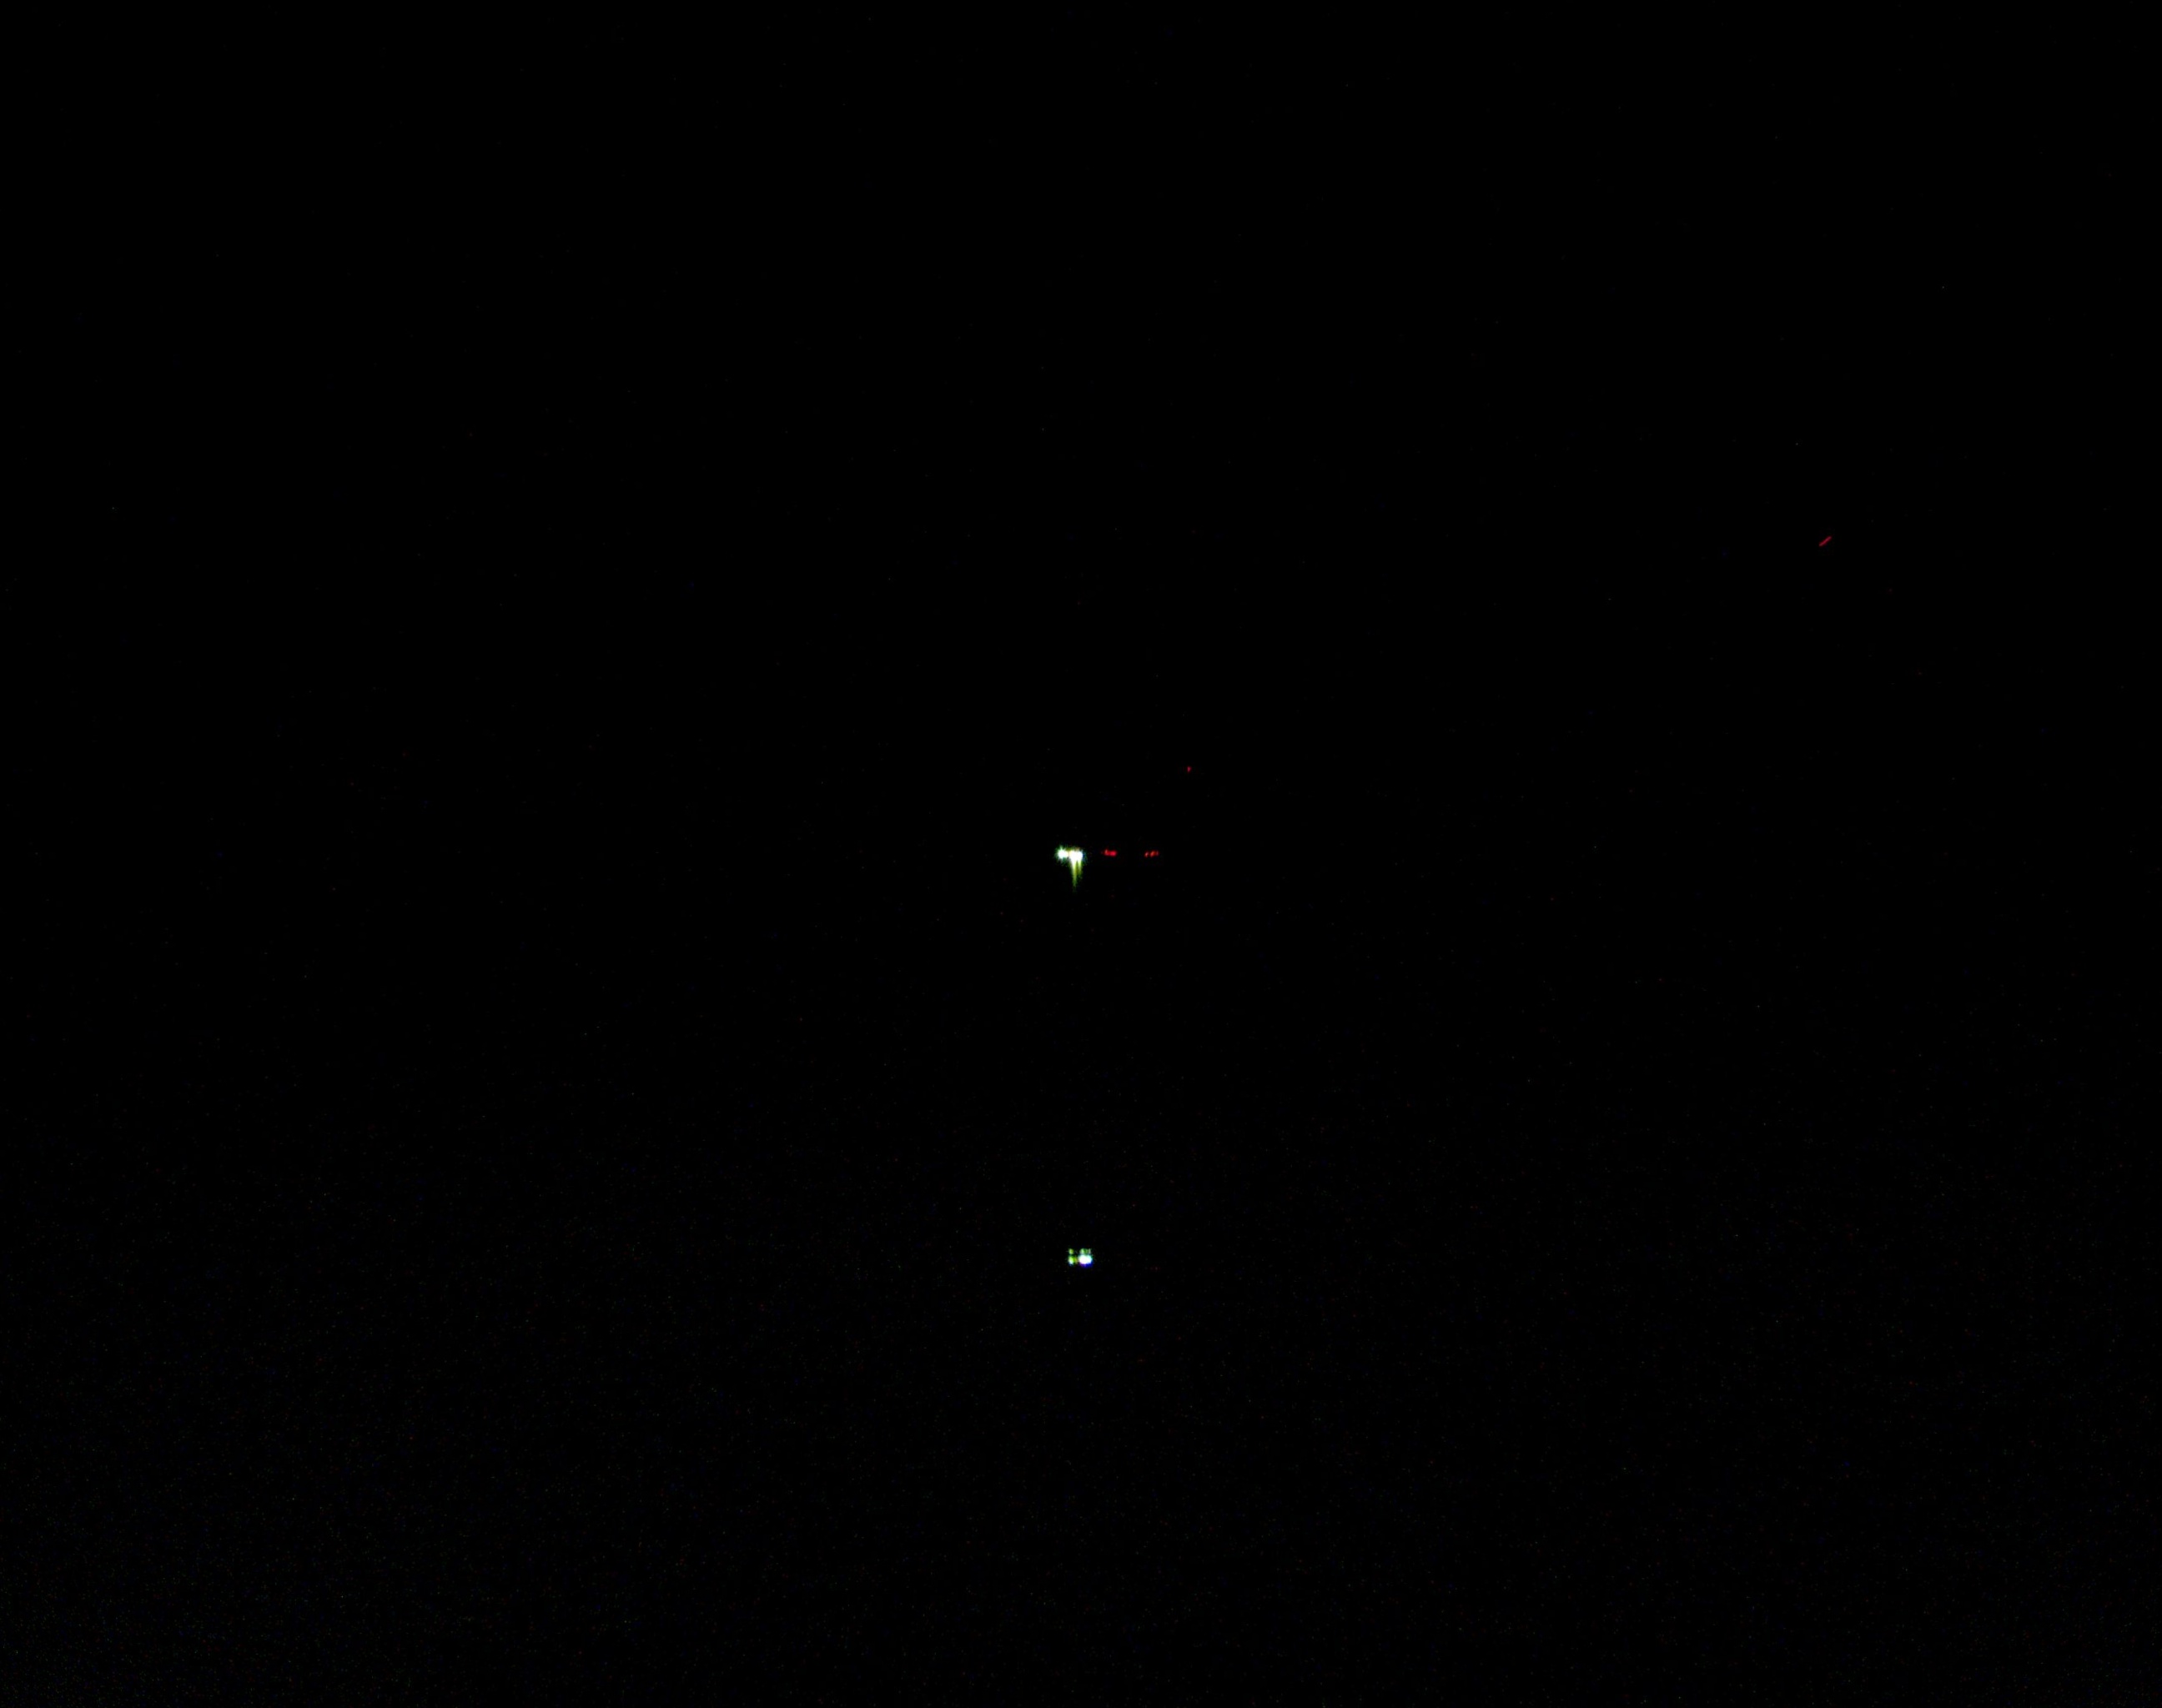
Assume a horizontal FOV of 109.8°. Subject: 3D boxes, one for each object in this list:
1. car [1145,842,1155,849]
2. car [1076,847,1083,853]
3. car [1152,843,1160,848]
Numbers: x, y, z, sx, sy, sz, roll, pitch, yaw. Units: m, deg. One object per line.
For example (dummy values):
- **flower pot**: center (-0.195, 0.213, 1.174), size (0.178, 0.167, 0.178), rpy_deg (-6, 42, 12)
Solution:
- **car**: center (18.036, -2.180, 199.177), size (2.014, 1.641, 5.108), rpy_deg (-2, 1, 0)
- **car**: center (-0.437, -1.075, 206.434), size (1.859, 1.609, 3.999), rpy_deg (-2, 1, 0)
- **car**: center (23.084, -2.650, 234.062), size (1.796, 1.471, 3.999), rpy_deg (-2, 1, 0)
